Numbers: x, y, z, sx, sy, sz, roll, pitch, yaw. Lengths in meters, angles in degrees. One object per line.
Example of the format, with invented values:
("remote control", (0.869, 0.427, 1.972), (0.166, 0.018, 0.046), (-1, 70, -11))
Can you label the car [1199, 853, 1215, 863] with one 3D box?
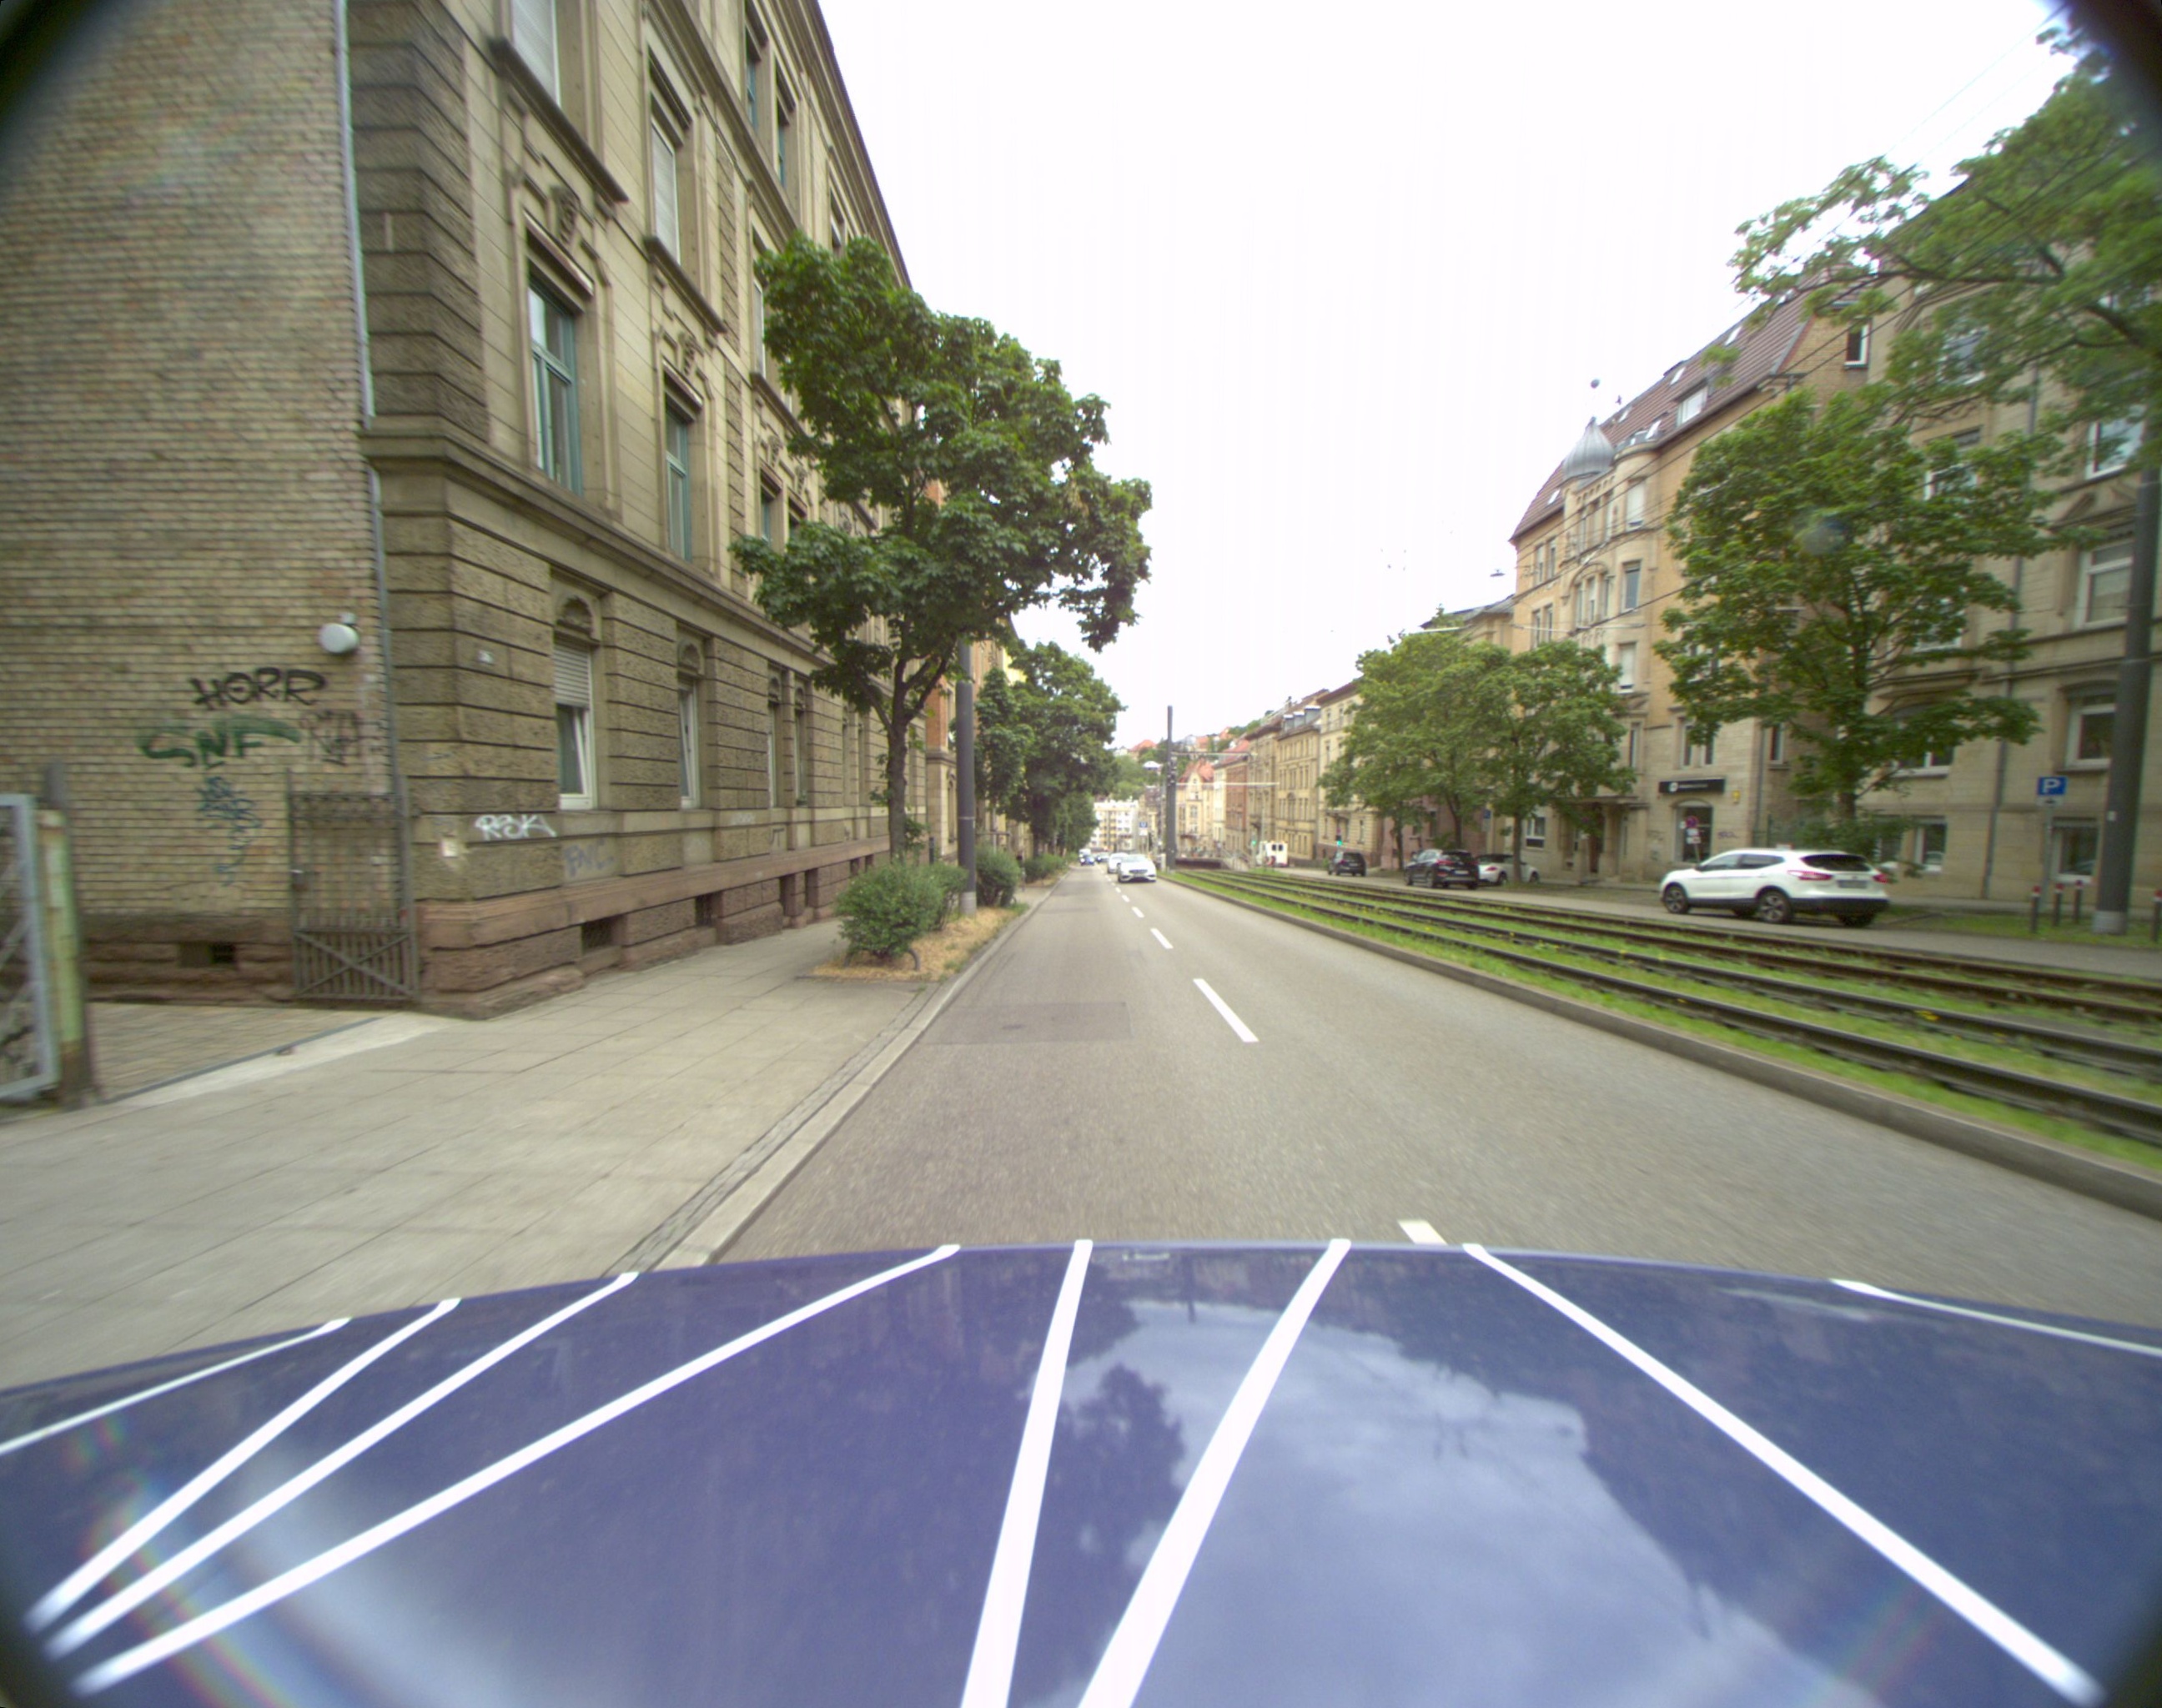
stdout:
("car", (17.506, 0.480, 105.669), (1.580, 1.369, 3.655), (0, 0, 1))

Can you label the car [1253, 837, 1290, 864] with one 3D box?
("car", (19.982, -0.399, 79.990), (2.398, 2.684, 6.519), (2, 1, 2))

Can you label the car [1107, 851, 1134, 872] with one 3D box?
("car", (2.957, 0.559, 57.038), (1.806, 1.542, 4.000), (-1, 0, 0))

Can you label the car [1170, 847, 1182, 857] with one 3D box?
("car", (17.643, -0.412, 140.717), (1.713, 1.725, 4.576), (0, 0, 1))

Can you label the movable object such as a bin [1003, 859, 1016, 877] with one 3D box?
("movable object such as a bin", (-4.227, 0.841, 45.006), (0.672, 1.010, 0.582), (2, -1, -2))

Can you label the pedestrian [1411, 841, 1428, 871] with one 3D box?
("pedestrian", (22.256, 0.140, 49.919), (0.722, 2.002, 0.797), (0, 0, -1))

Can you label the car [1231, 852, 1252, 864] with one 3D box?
("car", (20.204, 0.494, 95.992), (1.753, 1.420, 4.748), (1, 0, 1))

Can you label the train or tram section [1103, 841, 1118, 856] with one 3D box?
("train or tram section", (7.018, -1.193, 182.599), (2.968, 3.456, 14.407), (0, 0, -1))

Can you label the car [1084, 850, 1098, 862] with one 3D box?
("car", (1.262, 0.280, 96.666), (1.694, 1.466, 3.857), (0, 0, 1))

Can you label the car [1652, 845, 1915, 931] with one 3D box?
("car", (15.186, 0.641, 16.826), (1.784, 1.607, 4.345), (1, 1, 1))

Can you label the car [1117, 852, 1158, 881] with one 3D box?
("car", (2.850, 0.624, 39.002), (1.806, 1.391, 4.000), (-1, 0, 0))

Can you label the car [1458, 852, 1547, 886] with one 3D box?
("car", (19.275, 0.655, 34.703), (4.006, 1.414, 1.781), (-1, 1, -31))

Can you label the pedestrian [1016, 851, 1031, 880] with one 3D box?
("pedestrian", (-3.171, 0.630, 42.234), (0.687, 1.566, 1.216), (1, 3, 1))

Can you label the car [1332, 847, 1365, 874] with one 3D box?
("car", (17.518, 0.408, 49.925), (1.882, 1.640, 4.476), (2, 0, 18))

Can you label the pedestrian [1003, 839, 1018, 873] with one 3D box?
("pedestrian", (-3.899, 0.126, 42.293), (0.687, 1.820, 1.121), (1, 3, 0))

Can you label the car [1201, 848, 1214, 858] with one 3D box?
("car", (21.971, -0.162, 132.275), (1.853, 1.849, 4.139), (0, 0, 3))

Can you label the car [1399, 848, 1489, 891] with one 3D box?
("car", (15.270, 0.593, 32.205), (1.784, 1.647, 4.242), (1, 1, 1))

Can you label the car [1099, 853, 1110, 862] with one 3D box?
("car", (3.443, 0.564, 111.162), (1.562, 1.330, 4.000), (0, 0, 1))

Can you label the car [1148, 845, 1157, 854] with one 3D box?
("car", (19.397, -1.277, 207.346), (1.998, 2.291, 5.455), (0, 0, 1))
